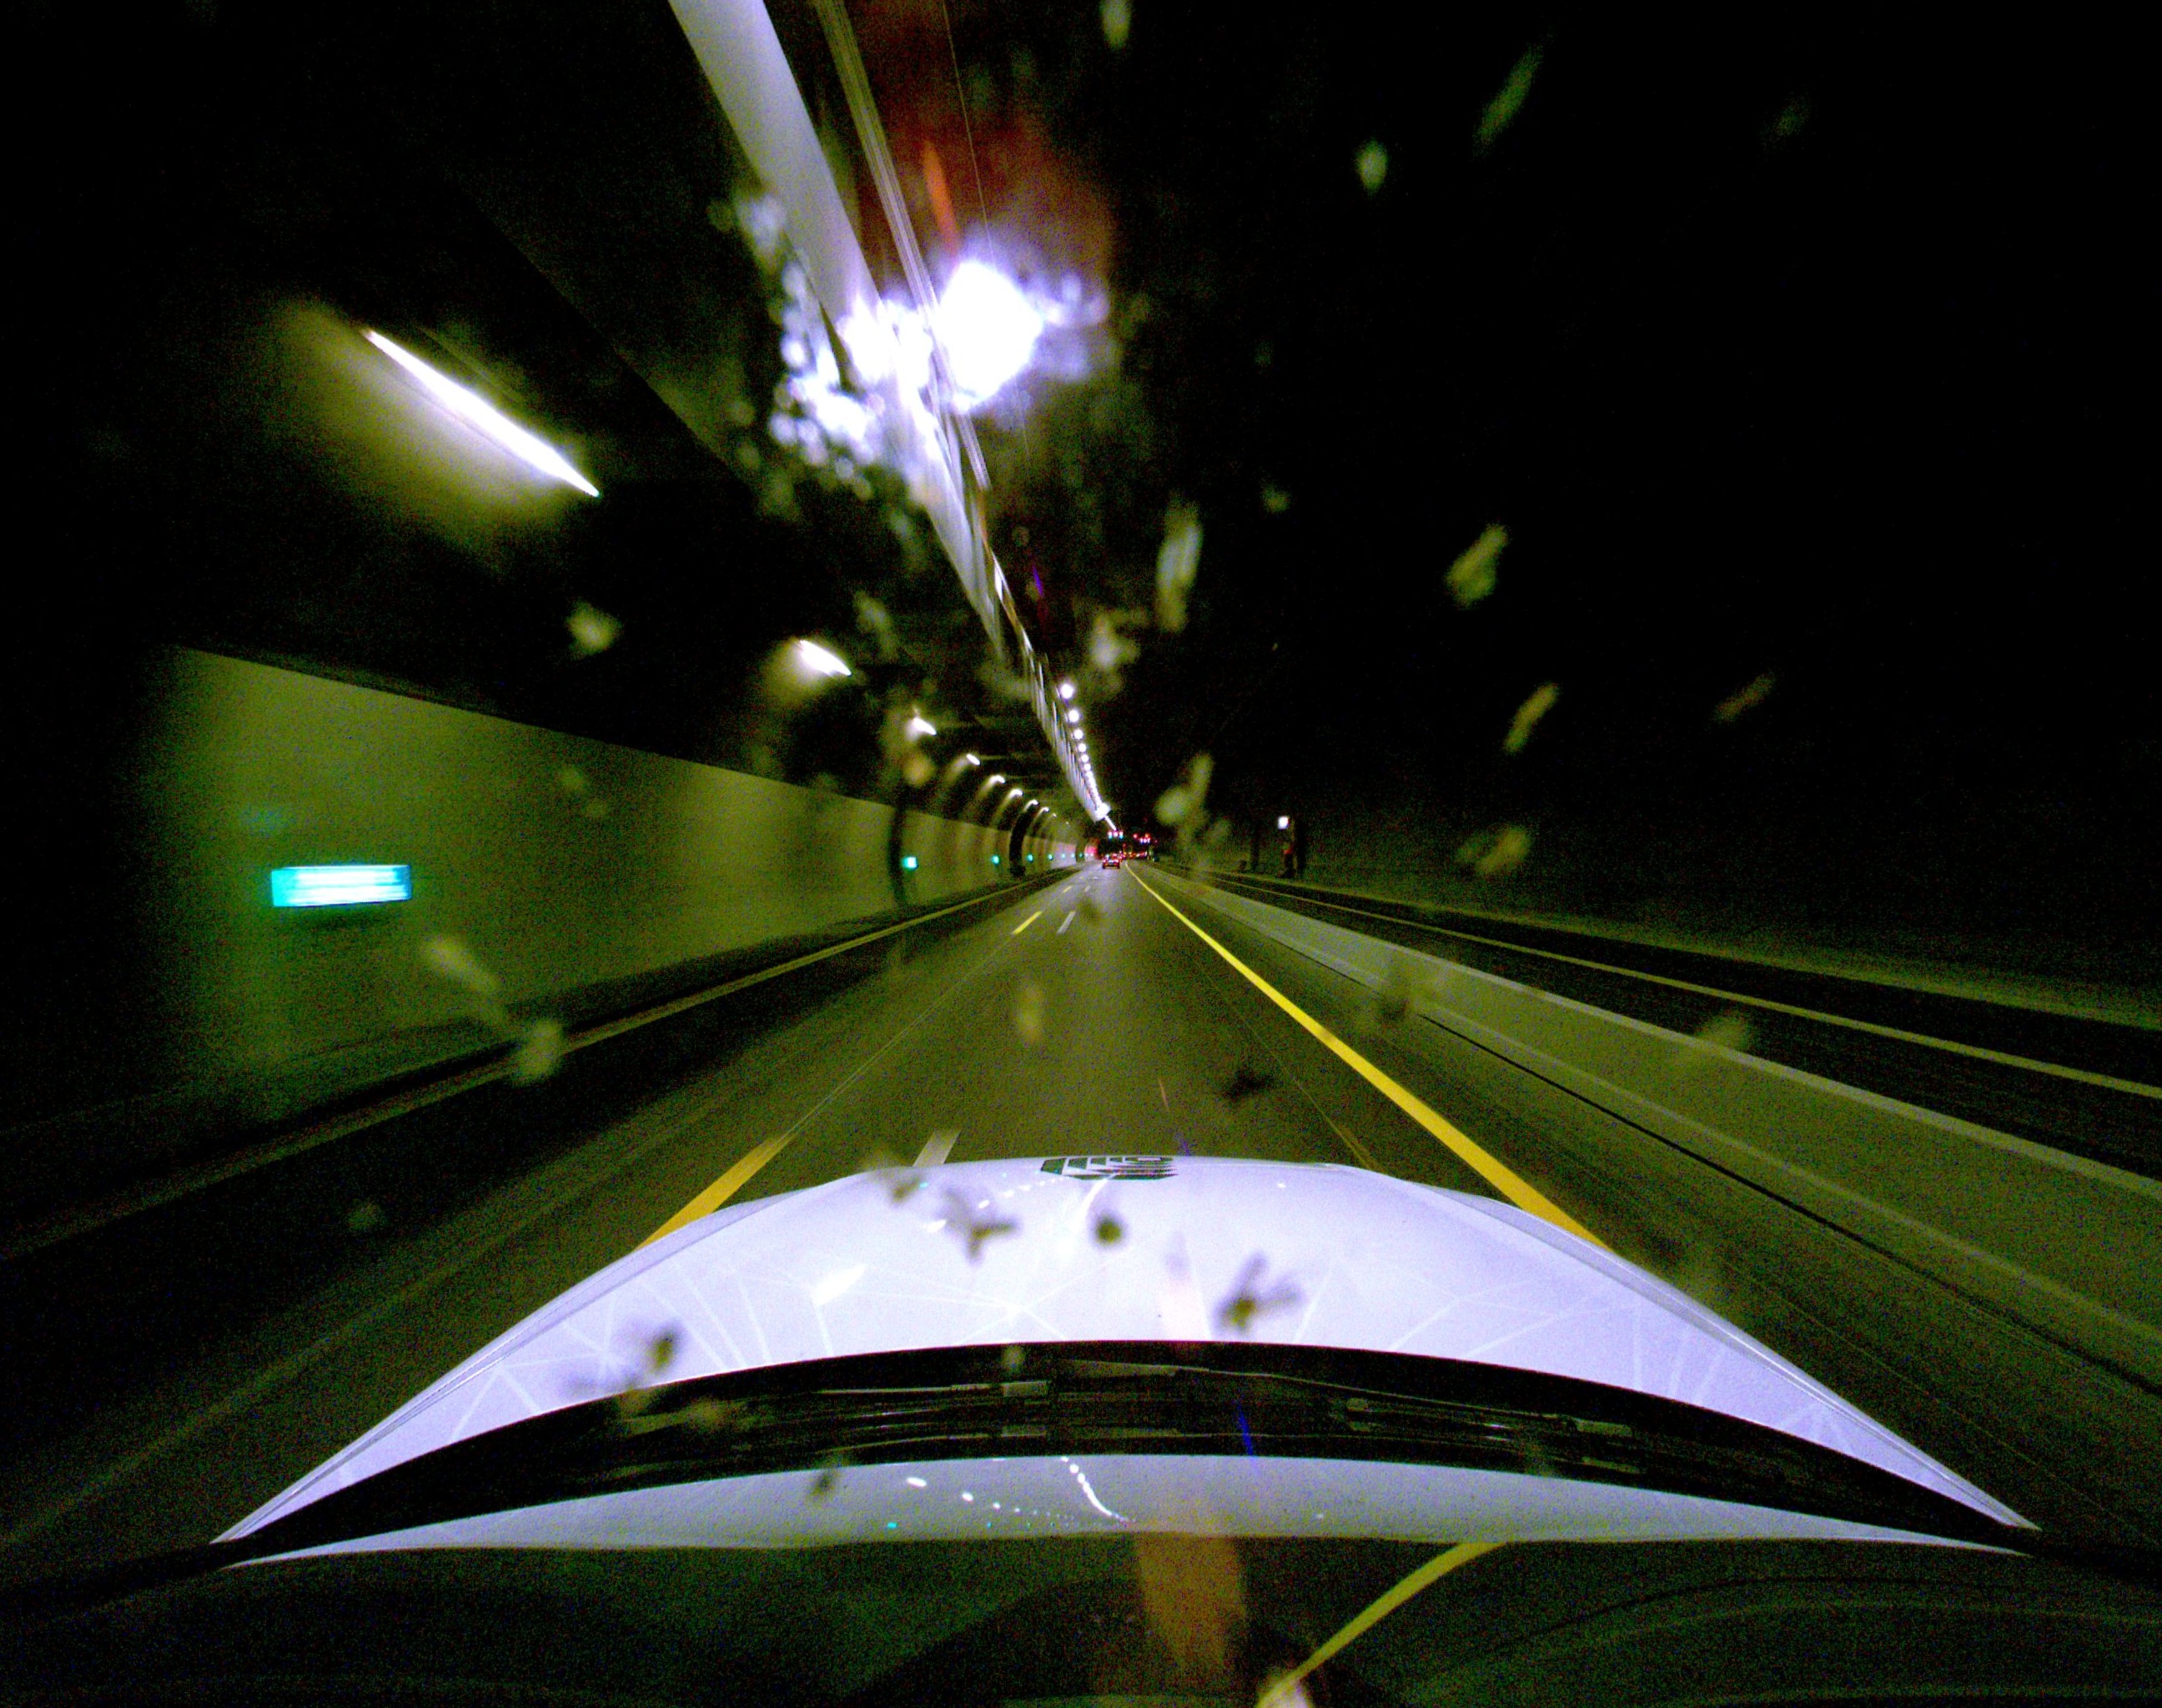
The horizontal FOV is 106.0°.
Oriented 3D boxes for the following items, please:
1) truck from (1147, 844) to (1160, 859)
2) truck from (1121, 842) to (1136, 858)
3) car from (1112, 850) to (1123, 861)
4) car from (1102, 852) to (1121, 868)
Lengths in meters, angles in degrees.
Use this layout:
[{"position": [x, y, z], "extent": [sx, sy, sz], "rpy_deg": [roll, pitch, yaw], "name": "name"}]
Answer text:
[{"position": [17.015, -0.532, 190.656], "extent": [2.880, 3.272, 8.409], "rpy_deg": [0, 0, 4], "name": "truck"}, {"position": [15.009, -1.257, 255.169], "extent": [4.527, 4.987, 9.607], "rpy_deg": [0, 0, 3], "name": "truck"}, {"position": [6.783, 0.266, 153.282], "extent": [1.986, 2.013, 4.001], "rpy_deg": [-1, 0, 1], "name": "car"}, {"position": [3.254, 0.647, 87.407], "extent": [1.881, 1.607, 4.000], "rpy_deg": [0, 0, 1], "name": "car"}]
